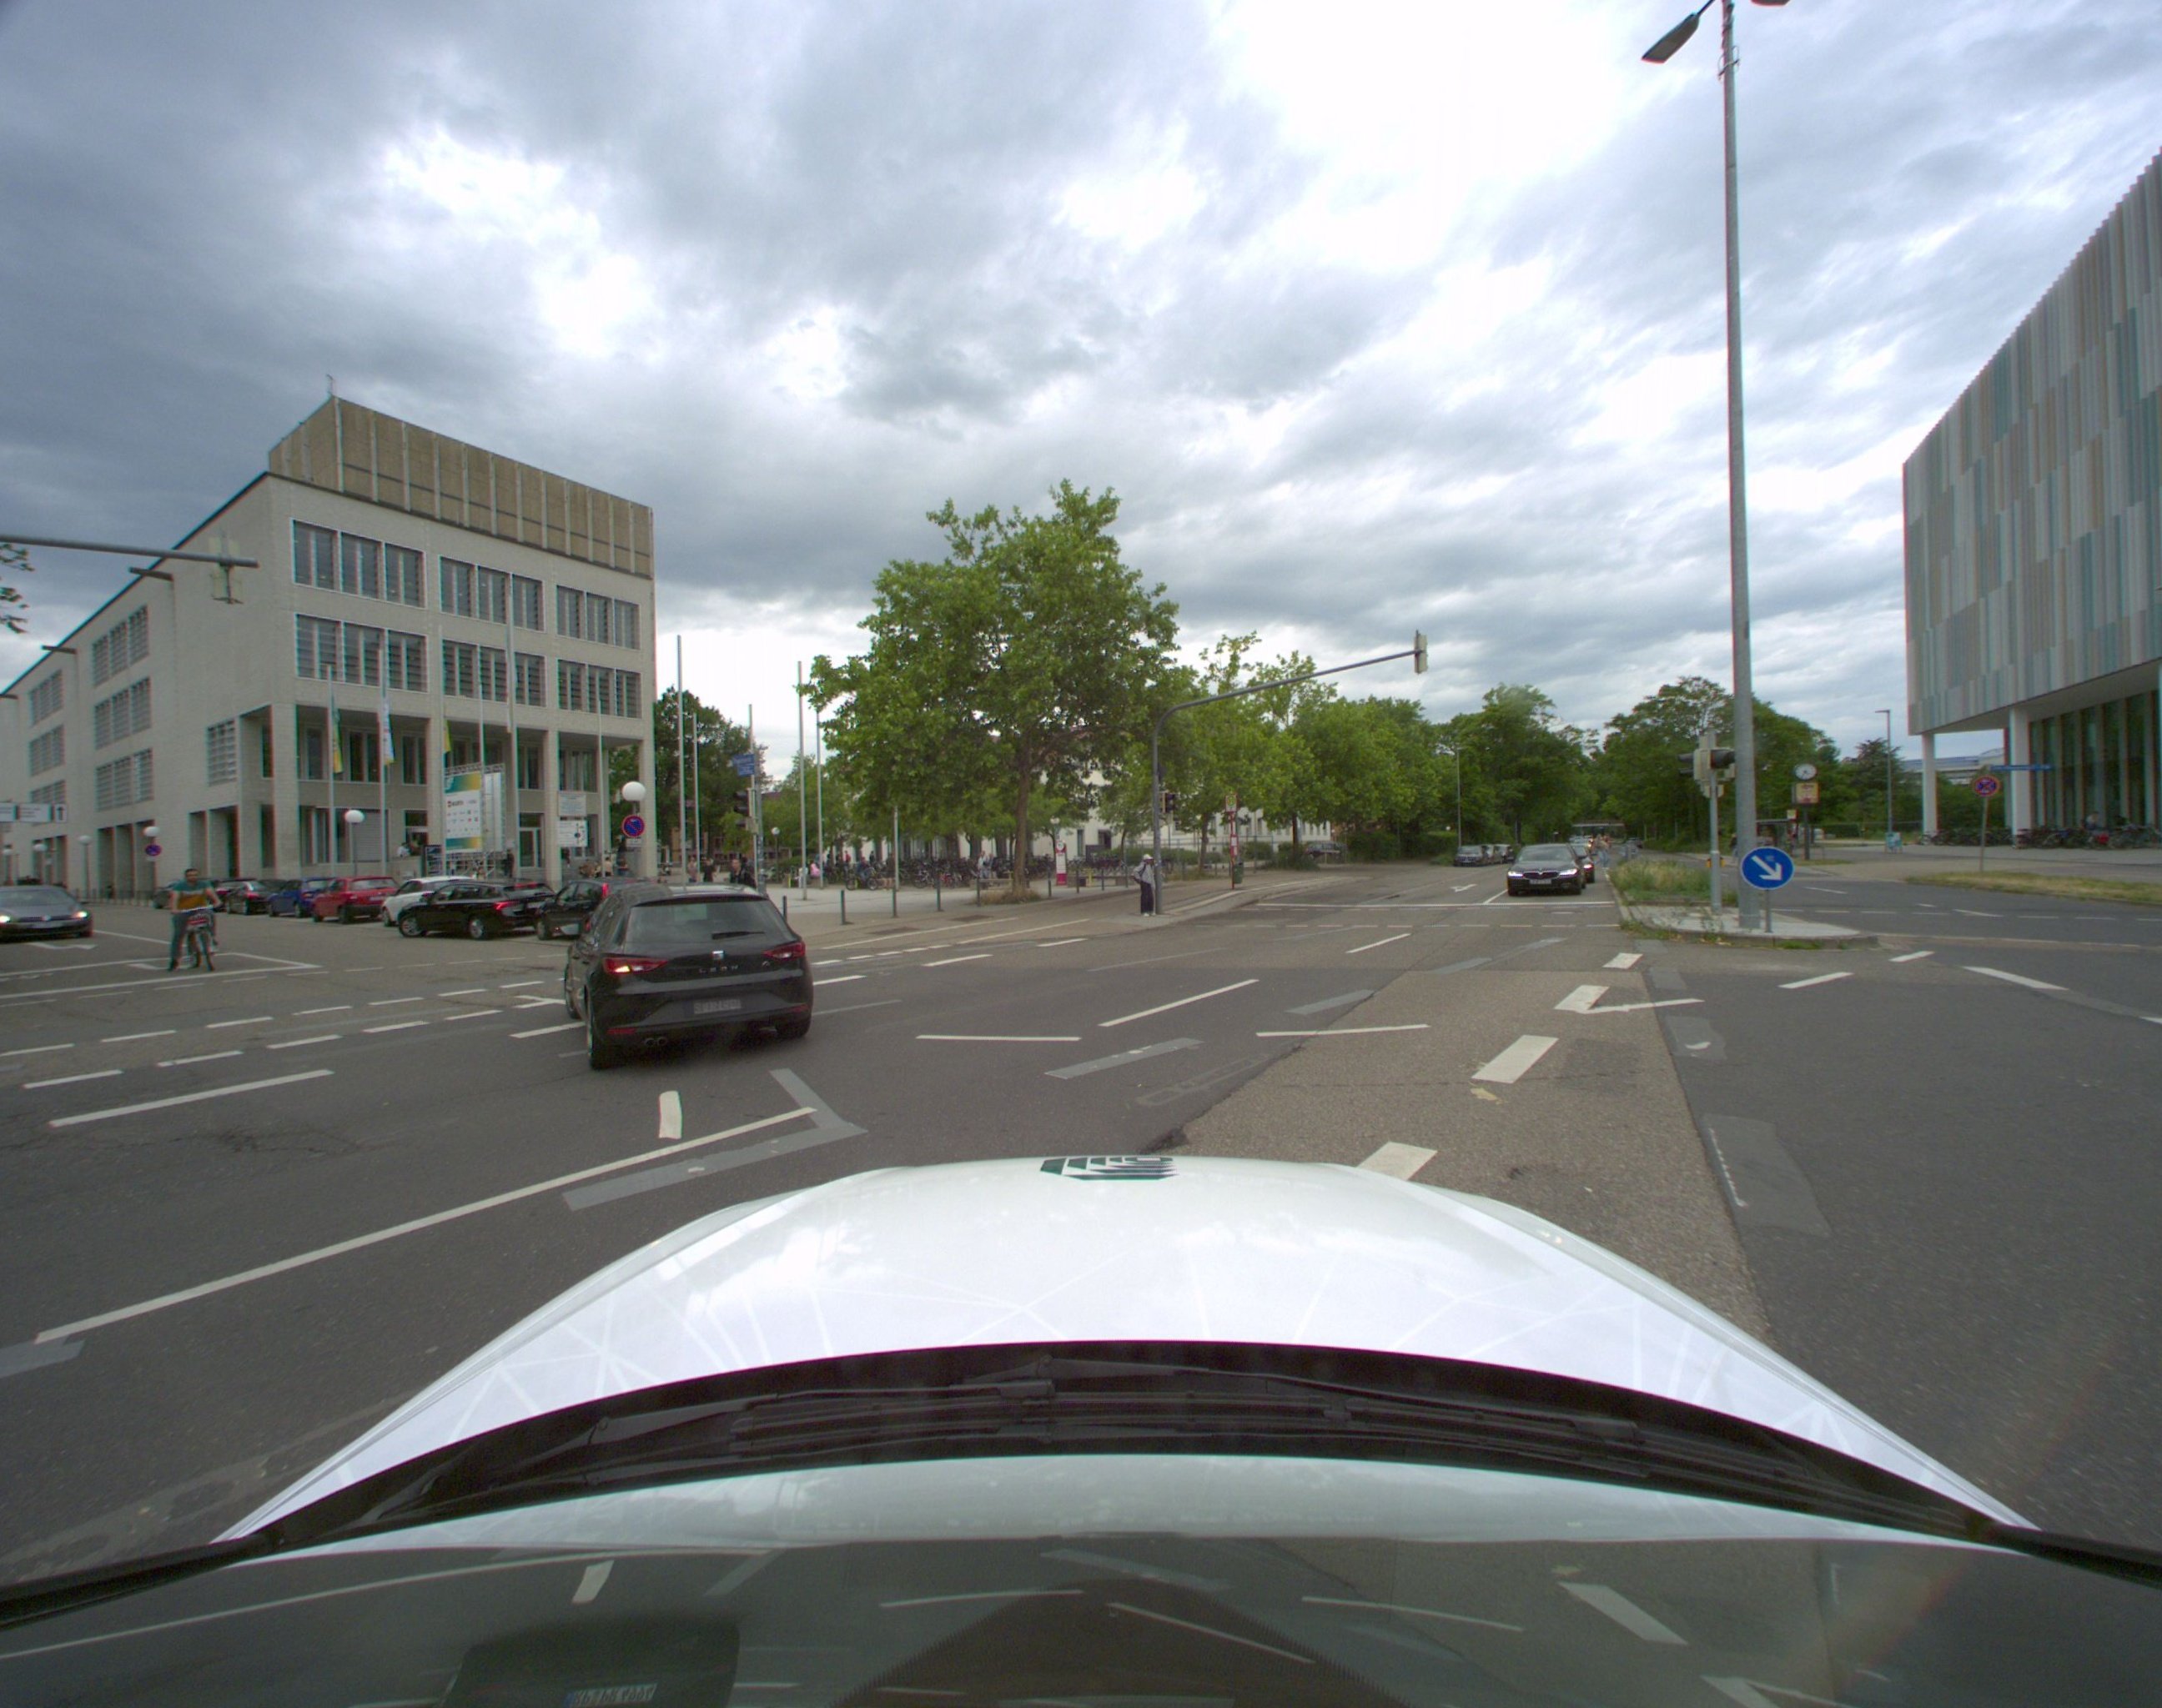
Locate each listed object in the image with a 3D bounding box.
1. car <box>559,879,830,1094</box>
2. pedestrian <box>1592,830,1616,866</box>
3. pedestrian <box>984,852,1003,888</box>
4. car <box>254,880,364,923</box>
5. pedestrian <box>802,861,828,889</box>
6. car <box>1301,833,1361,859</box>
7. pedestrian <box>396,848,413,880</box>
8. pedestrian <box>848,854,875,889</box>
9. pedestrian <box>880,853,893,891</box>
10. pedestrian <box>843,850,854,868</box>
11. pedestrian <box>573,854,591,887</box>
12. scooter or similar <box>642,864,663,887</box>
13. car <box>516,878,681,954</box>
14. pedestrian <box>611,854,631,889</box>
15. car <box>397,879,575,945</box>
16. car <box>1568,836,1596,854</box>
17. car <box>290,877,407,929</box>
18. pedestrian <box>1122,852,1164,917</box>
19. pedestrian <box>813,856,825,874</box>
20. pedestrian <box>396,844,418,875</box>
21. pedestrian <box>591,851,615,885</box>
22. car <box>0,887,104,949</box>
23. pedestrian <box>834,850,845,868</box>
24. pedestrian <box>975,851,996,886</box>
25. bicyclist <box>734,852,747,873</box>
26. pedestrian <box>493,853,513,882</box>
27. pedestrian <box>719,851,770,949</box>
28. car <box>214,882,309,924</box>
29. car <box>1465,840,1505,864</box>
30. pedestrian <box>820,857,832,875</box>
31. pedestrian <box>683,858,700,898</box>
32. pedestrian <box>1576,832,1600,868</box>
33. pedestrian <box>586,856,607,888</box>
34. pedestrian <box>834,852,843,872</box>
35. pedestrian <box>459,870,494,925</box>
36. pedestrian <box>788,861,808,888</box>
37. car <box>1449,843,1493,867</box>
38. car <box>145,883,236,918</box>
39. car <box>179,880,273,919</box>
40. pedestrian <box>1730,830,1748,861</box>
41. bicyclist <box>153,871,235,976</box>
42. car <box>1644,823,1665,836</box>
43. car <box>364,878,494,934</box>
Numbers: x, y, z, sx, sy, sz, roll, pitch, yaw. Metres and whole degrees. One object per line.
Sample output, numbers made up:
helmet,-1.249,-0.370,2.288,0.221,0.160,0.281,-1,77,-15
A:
car,-4.018,1.020,8.043,1.795,1.419,4.085,-2,0,-34
pedestrian,26.631,-0.292,41.488,0.709,1.788,0.897,-2,0,8
pedestrian,-4.270,0.790,39.773,0.649,1.715,0.589,-2,0,38
car,-29.032,1.784,30.619,4.320,1.411,1.711,-2,1,29
pedestrian,-14.160,1.121,43.388,0.957,1.420,0.857,-2,0,21
car,18.133,-0.582,59.277,4.022,1.753,2.008,-2,0,15
pedestrian,-36.142,0.515,43.507,0.635,1.658,0.797,0,1,-42
pedestrian,-11.094,0.877,41.171,0.956,1.704,0.858,-2,0,31
pedestrian,-9.521,0.878,39.879,0.511,1.833,0.669,-2,0,-18
pedestrian,-21.468,0.448,75.266,0.657,1.641,0.667,-2,0,30
pedestrian,-27.943,0.920,45.571,0.612,1.841,0.596,-2,-1,33
scooter or similar,-26.534,1.331,50.449,0.402,1.369,1.494,1,1,5
car,-11.478,1.426,19.297,4.052,1.501,1.638,-2,2,33
pedestrian,-25.404,0.972,44.975,0.601,1.864,0.777,-3,1,-9
car,-15.597,1.457,21.339,4.422,1.401,1.878,-1,3,27
car,48.730,-0.849,79.161,1.974,1.618,4.221,-2,0,35
car,-24.544,1.582,27.263,4.218,1.473,1.729,-1,3,32
pedestrian,1.617,0.778,21.280,0.783,1.627,0.762,1,1,45
pedestrian,-23.715,0.981,73.701,0.657,1.641,0.667,-2,0,30
pedestrian,-35.489,0.282,42.861,0.810,1.658,0.625,0,1,-33
pedestrian,-25.885,0.757,44.092,0.728,1.785,0.768,-2,0,19
car,-29.002,1.730,22.619,4.114,1.497,1.800,-2,1,32
pedestrian,-22.483,0.431,75.783,0.685,1.641,0.667,-2,0,30
pedestrian,-4.740,0.708,40.284,0.669,1.715,0.678,-2,1,38
bicyclist,-26.829,0.637,64.199,0.877,1.641,0.861,-1,0,-23
pedestrian,-31.455,0.737,44.328,0.623,1.526,0.719,1,1,33
pedestrian,-6.977,0.927,16.894,0.796,1.952,0.750,-2,0,-34
car,-33.440,1.955,33.210,4.361,1.442,1.866,0,1,33
car,29.000,-0.152,58.391,1.974,1.618,4.026,-2,0,35
pedestrian,-23.456,1.089,74.946,0.657,1.641,0.667,-2,0,29
pedestrian,-17.959,1.103,37.548,0.645,1.807,0.642,0,0,-28
pedestrian,25.772,-0.212,41.425,0.709,1.788,0.897,-2,0,8
pedestrian,-26.829,1.013,45.094,0.596,1.715,0.784,-2,0,33
pedestrian,-20.328,0.688,68.335,0.662,1.641,0.663,-3,1,-16
pedestrian,-20.385,1.462,27.463,0.811,1.787,0.798,-2,0,44
pedestrian,-15.144,1.103,43.639,0.764,1.413,0.673,-2,0,1
car,26.297,0.048,54.828,1.974,1.512,4.026,-2,0,35
car,-42.437,2.194,38.787,4.859,1.452,2.013,-2,0,32
car,-37.546,1.969,35.750,4.462,1.443,1.836,-2,2,31
pedestrian,39.510,-0.526,48.886,0.798,1.809,0.592,0,1,36
bicyclist,-15.827,1.227,14.529,0.972,1.779,0.663,-2,0,25
car,76.437,-3.250,108.491,1.794,1.618,4.025,-2,0,28
car,-19.700,1.525,24.584,3.809,1.453,1.878,-2,0,32
